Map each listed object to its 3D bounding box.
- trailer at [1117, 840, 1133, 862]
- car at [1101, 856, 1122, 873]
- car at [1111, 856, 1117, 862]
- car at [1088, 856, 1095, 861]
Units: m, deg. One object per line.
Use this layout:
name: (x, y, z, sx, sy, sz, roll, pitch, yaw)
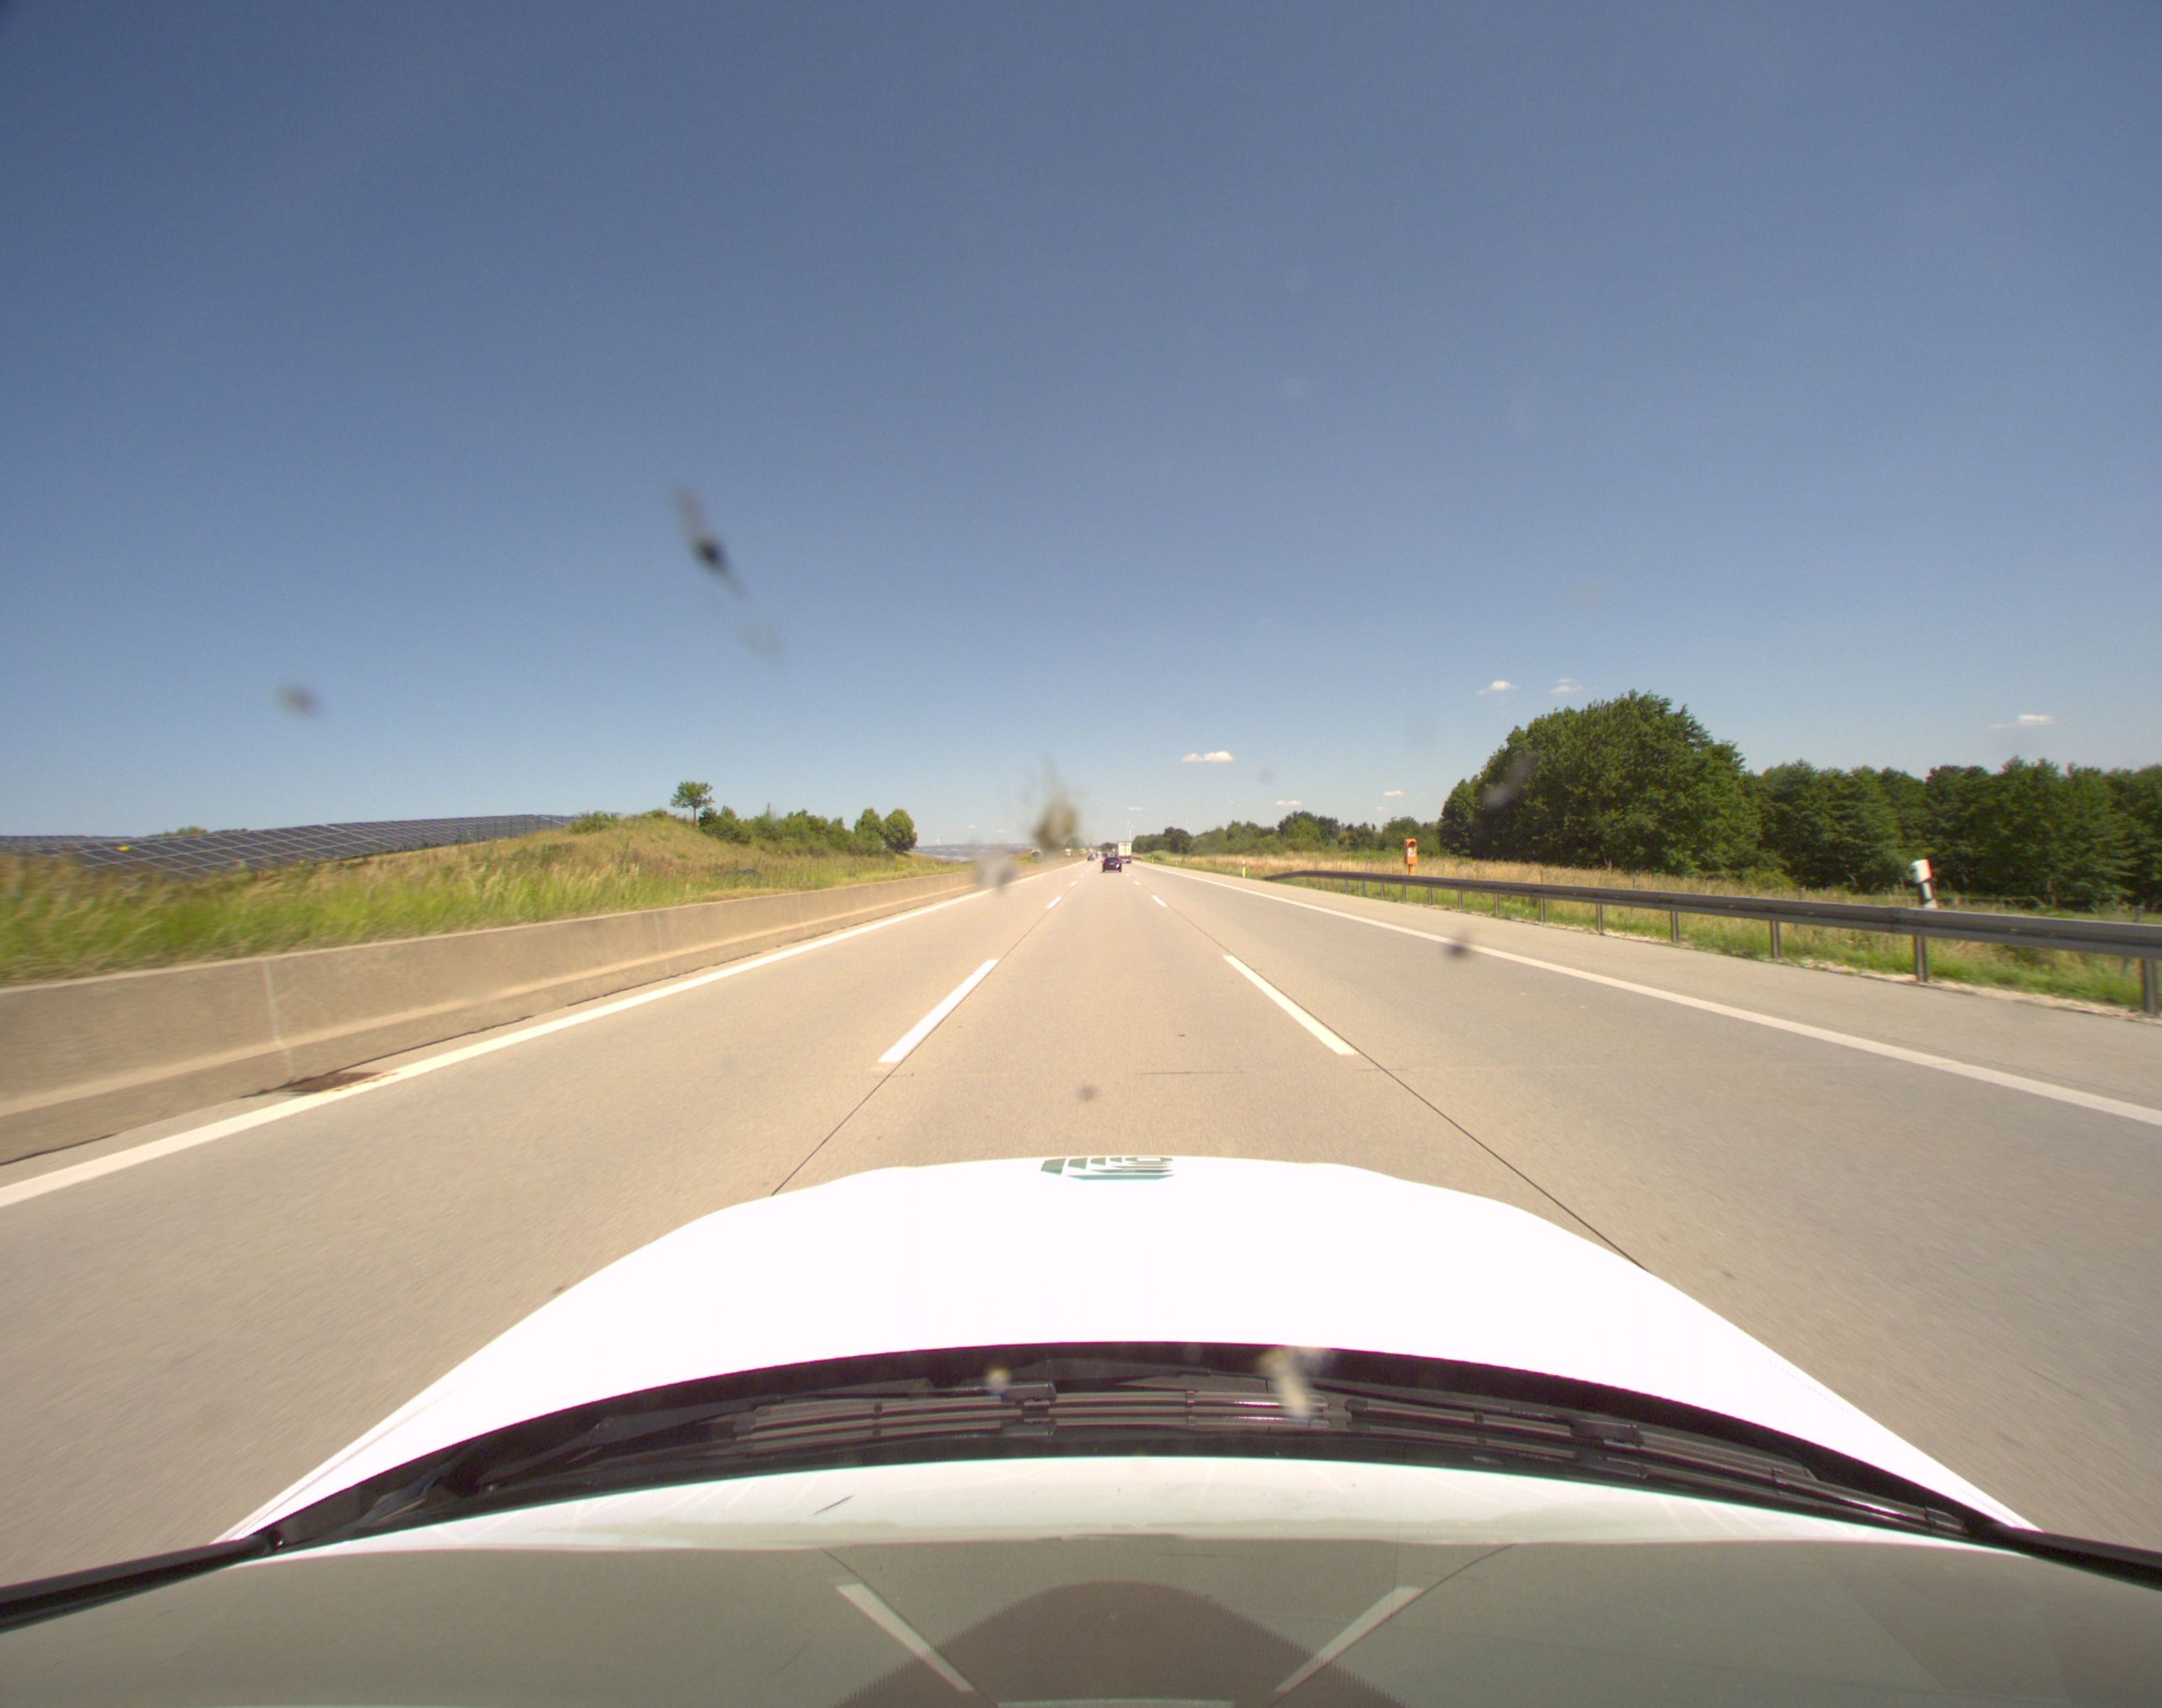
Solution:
trailer: (8.328, -0.557, 155.474, 2.842, 4.042, 12.717, 0, 0, 2)
car: (2.780, 0.957, 74.988, 1.903, 1.492, 4.192, 0, 0, 1)
car: (10.231, 1.511, 252.527, 1.818, 1.907, 4.006, -1, 0, 5)
car: (2.759, 1.205, 213.661, 1.649, 1.196, 3.961, 2, 0, 2)
